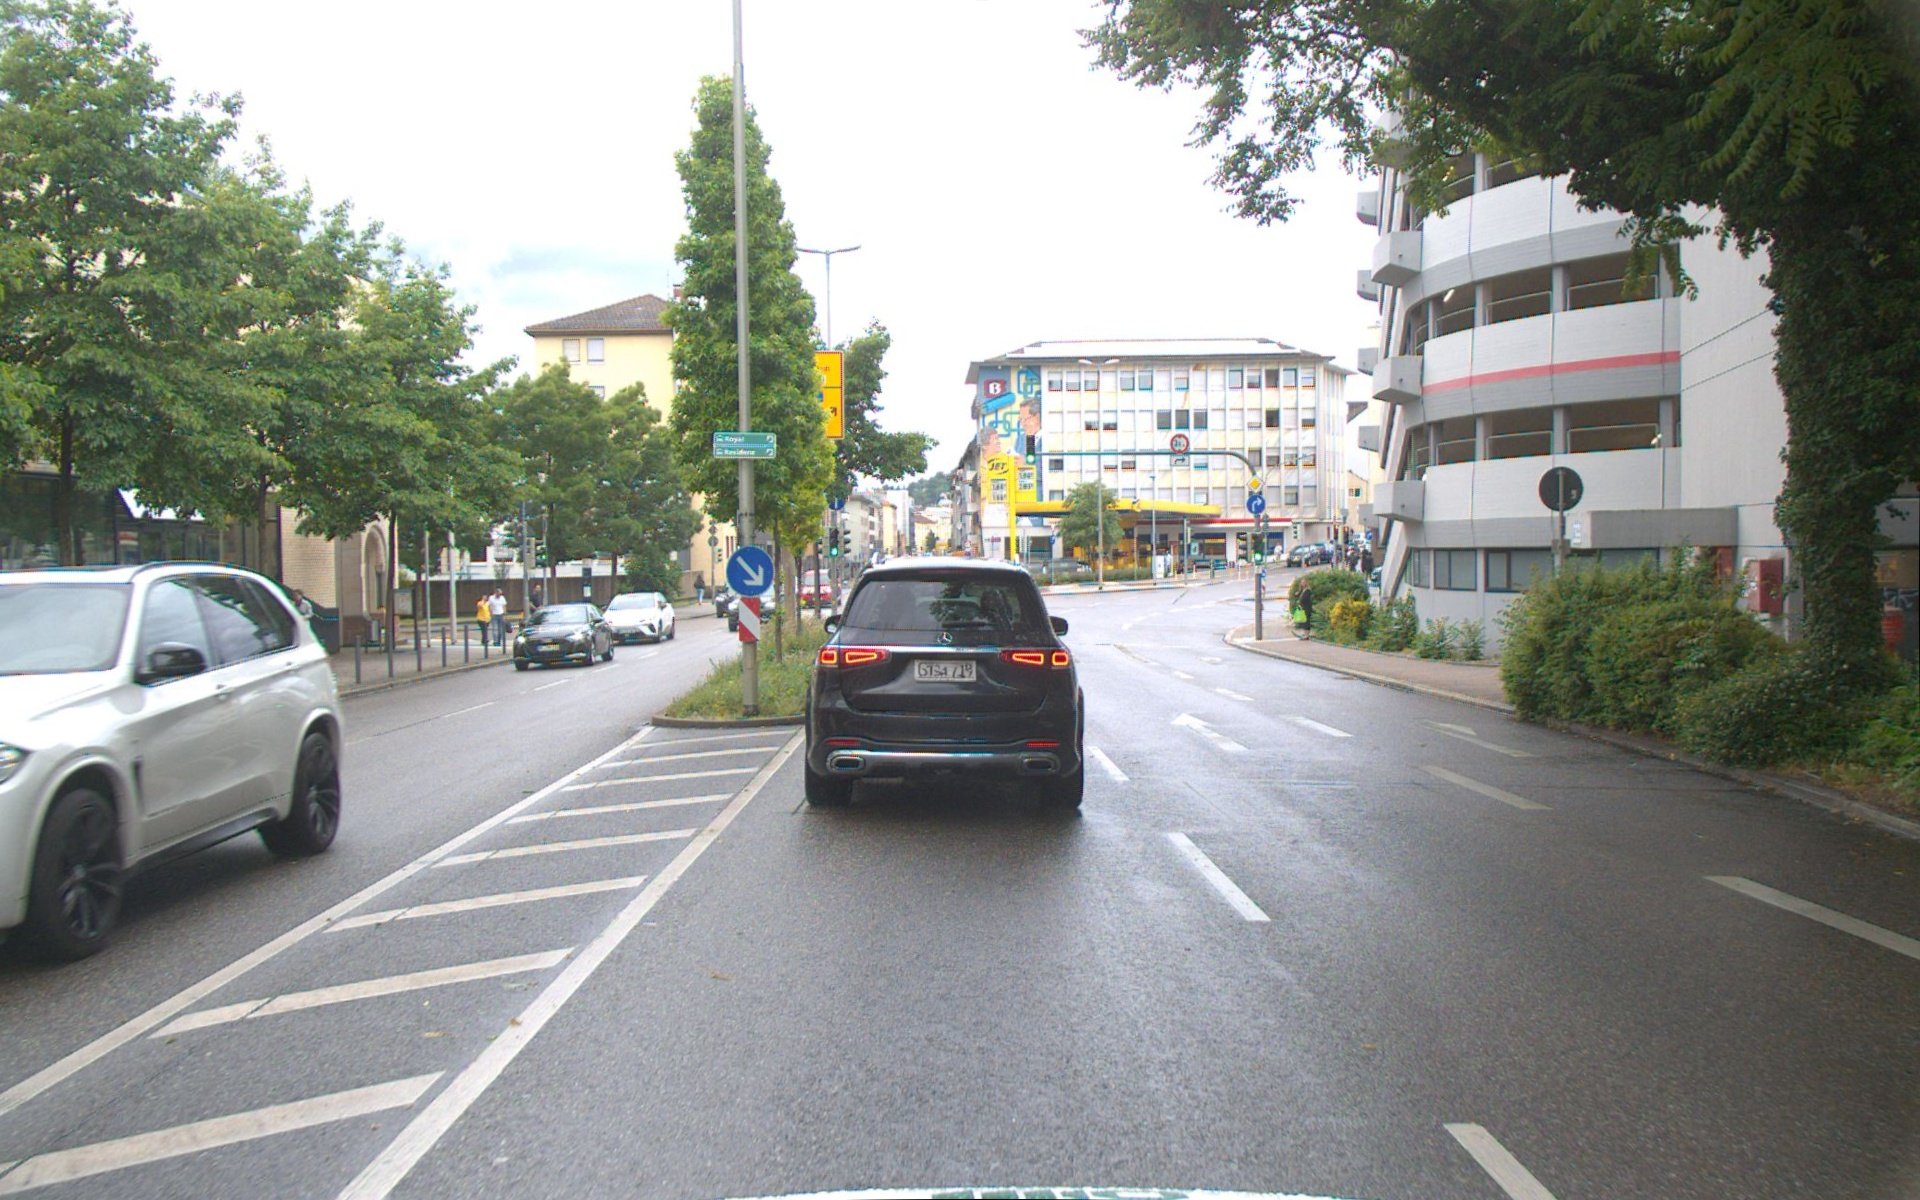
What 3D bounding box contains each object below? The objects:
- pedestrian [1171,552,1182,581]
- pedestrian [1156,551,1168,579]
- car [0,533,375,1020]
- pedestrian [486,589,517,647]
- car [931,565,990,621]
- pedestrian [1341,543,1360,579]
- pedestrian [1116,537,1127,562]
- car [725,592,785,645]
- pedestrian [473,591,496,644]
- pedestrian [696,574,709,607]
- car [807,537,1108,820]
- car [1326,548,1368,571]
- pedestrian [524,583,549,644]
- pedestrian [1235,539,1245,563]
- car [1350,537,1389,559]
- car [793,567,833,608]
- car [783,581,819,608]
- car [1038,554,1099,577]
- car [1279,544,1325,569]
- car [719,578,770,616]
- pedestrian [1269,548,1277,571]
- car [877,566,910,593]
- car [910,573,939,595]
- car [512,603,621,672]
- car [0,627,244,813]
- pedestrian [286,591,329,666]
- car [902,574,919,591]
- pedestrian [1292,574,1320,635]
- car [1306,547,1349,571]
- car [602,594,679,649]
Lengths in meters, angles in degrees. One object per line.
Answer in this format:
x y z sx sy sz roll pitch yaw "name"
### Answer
13.391 -2.060 102.337 0.560 1.727 0.631 1 -1 0 "pedestrian"
12.737 -2.182 104.266 0.515 1.757 0.688 0 1 26 "pedestrian"
-4.682 0.708 8.447 1.853 1.843 4.572 -3 0 -3 "car"
-13.543 0.529 48.825 0.683 1.685 0.605 -2 1 -36 "pedestrian"
-0.002 -0.213 57.616 1.953 1.832 3.999 1 -1 -1 "car"
24.195 -2.424 102.568 0.838 2.165 0.947 -2 1 -7 "pedestrian"
11.542 -3.596 118.172 0.516 1.757 0.688 0 1 29 "pedestrian"
-7.141 0.612 57.914 1.698 1.654 4.229 -3 1 -3 "car"
-14.372 0.525 49.977 0.540 1.560 0.434 -2 1 -36 "pedestrian"
-13.971 -0.496 89.691 0.635 1.757 0.628 -2 1 -5 "pedestrian"
-0.042 0.535 12.888 1.953 1.832 3.999 1 -1 -1 "car"
30.320 -3.155 129.449 1.958 1.735 3.990 -1 1 33 "car"
-12.635 0.399 49.379 0.675 1.788 0.716 -1 1 -12 "pedestrian"
20.184 -3.533 119.196 0.515 1.757 0.688 0 1 26 "pedestrian"
33.333 -4.228 134.580 1.958 1.735 3.990 -1 1 33 "car"
-7.301 -0.602 82.579 1.757 1.886 4.790 -3 0 -3 "car"
-9.546 -0.348 99.743 1.809 1.454 4.434 -3 2 -1 "car"
7.245 -2.308 110.583 1.724 1.400 3.935 -2 1 -44 "car"
25.029 -3.183 120.892 1.958 1.735 3.990 -1 1 33 "car"
-9.803 -0.149 75.543 1.851 1.614 4.535 -3 0 -2 "car"
23.202 -2.989 122.678 0.474 1.669 0.438 1 -1 28 "pedestrian"
-4.167 -1.277 104.687 1.953 1.642 4.189 1 -1 -1 "car"
-2.706 -1.249 127.381 1.952 1.574 4.190 1 -1 2 "car"
-9.138 0.826 38.683 1.698 1.418 4.197 -3 0 -3 "car"
-8.441 1.060 15.628 1.710 1.437 3.969 -3 0 -3 "car"
-14.897 0.648 37.773 0.630 1.695 1.017 1 -1 -7 "pedestrian"
-6.134 -2.176 204.332 1.953 2.049 4.000 1 -1 0 "car"
9.922 0.124 47.430 0.634 1.740 0.470 0 -1 35 "pedestrian"
27.833 -3.099 125.199 1.958 1.735 3.990 -1 1 33 "car"
-9.765 0.628 50.743 1.698 1.494 4.229 -3 1 -3 "car"
